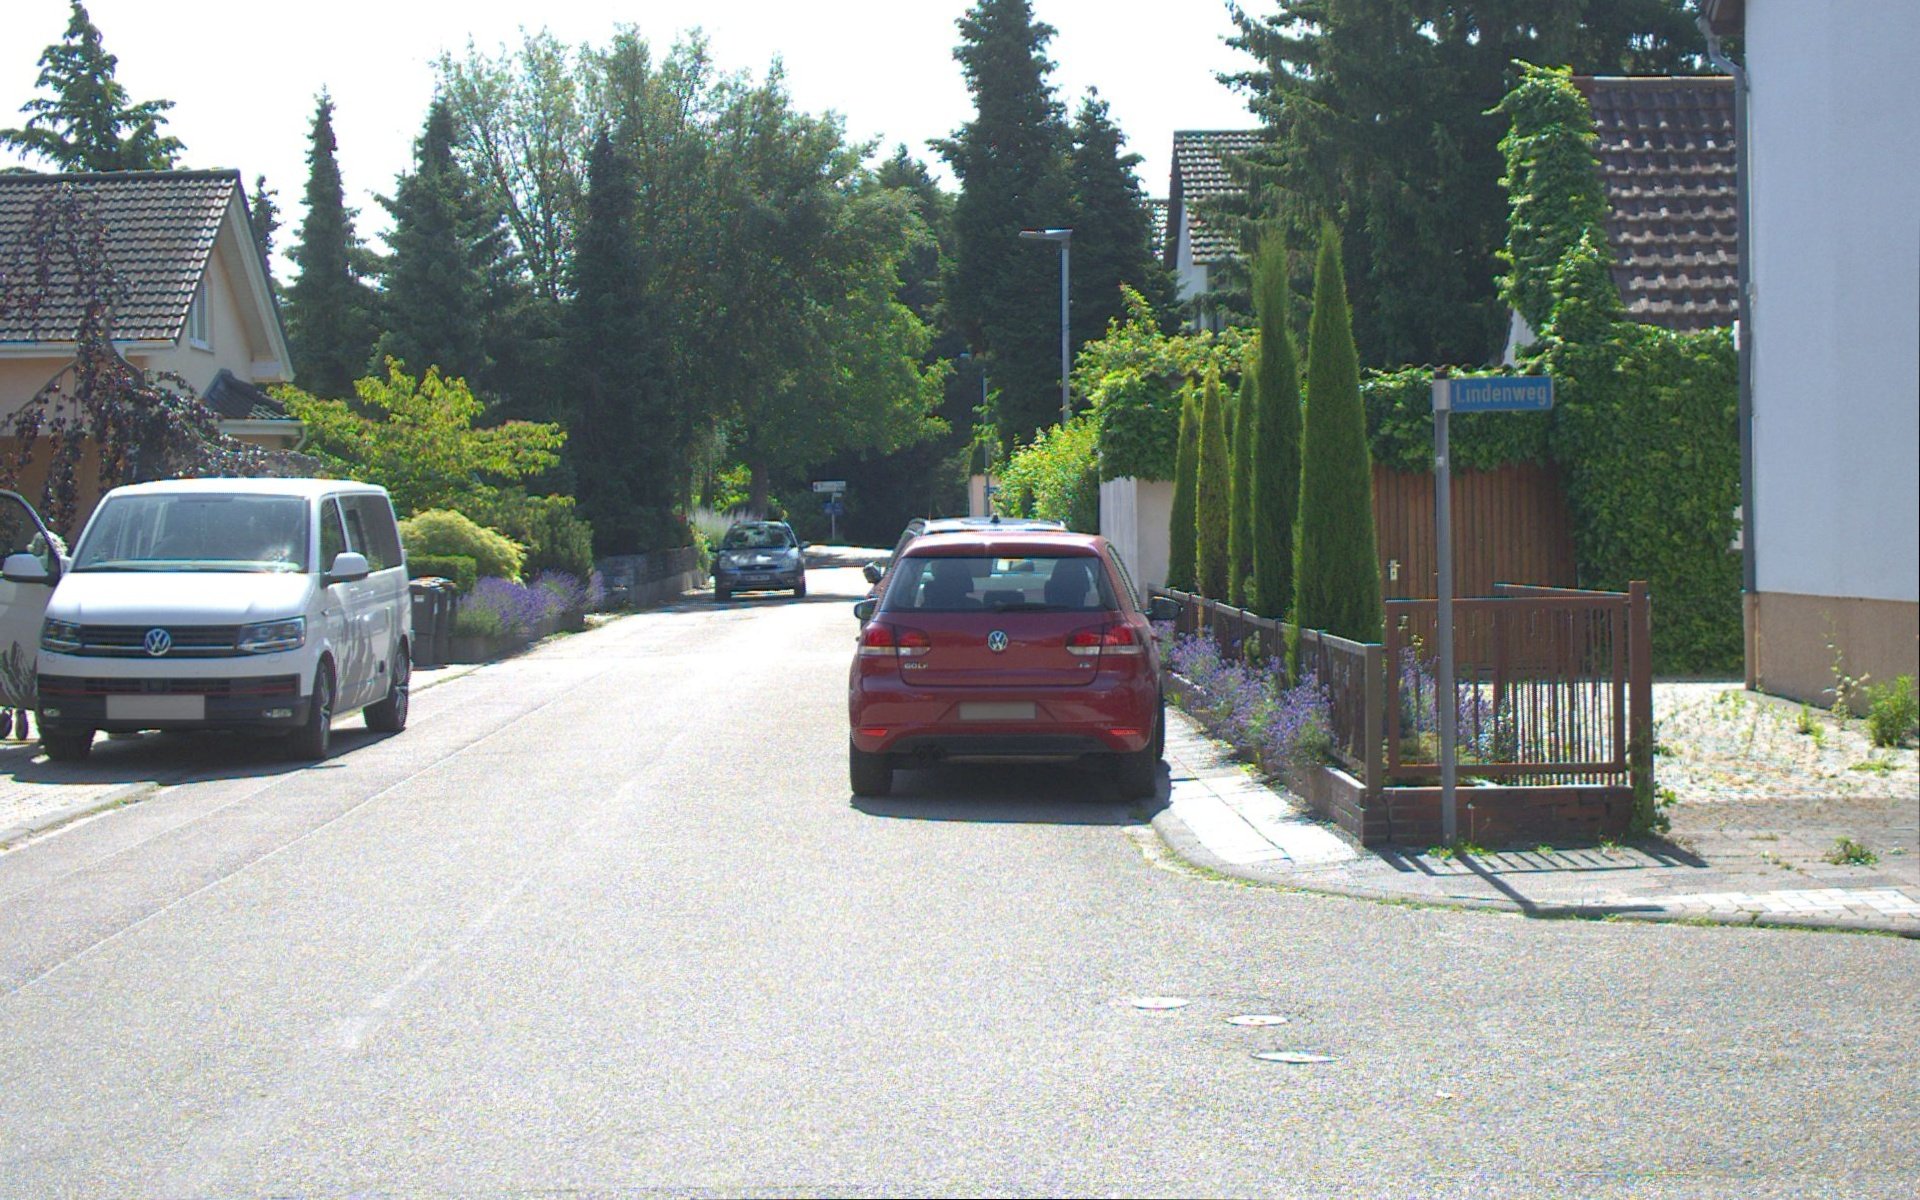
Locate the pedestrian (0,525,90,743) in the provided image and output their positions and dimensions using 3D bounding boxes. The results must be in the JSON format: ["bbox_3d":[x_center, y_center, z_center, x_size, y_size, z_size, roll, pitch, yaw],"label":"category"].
[{"bbox_3d":[-6.764,0.232,24.736,0.718,1.533,0.641,1,2,33],"label":"pedestrian"}]

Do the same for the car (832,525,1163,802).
[{"bbox_3d":[0.294,0.299,20.617,1.775,1.474,4.000,1,1,3],"label":"car"}]

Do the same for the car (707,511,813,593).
[{"bbox_3d":[-3.814,-0.949,66.239,1.752,1.482,4.376,-1,1,0],"label":"car"}]

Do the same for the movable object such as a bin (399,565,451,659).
[{"bbox_3d":[-5.927,0.130,38.092,0.494,1.021,0.447,-1,1,0],"label":"movable object such as a bin"}]

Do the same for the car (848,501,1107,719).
[{"bbox_3d":[0.067,0.029,27.438,1.822,1.610,4.001,0,1,-3],"label":"car"}]

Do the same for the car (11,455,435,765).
[{"bbox_3d":[-5.195,0.008,24.936,1.929,2.007,4.896,-1,1,1],"label":"car"}]

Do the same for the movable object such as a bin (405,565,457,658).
[{"bbox_3d":[-5.934,0.123,38.565,0.494,1.021,0.447,-1,1,0],"label":"movable object such as a bin"}]
